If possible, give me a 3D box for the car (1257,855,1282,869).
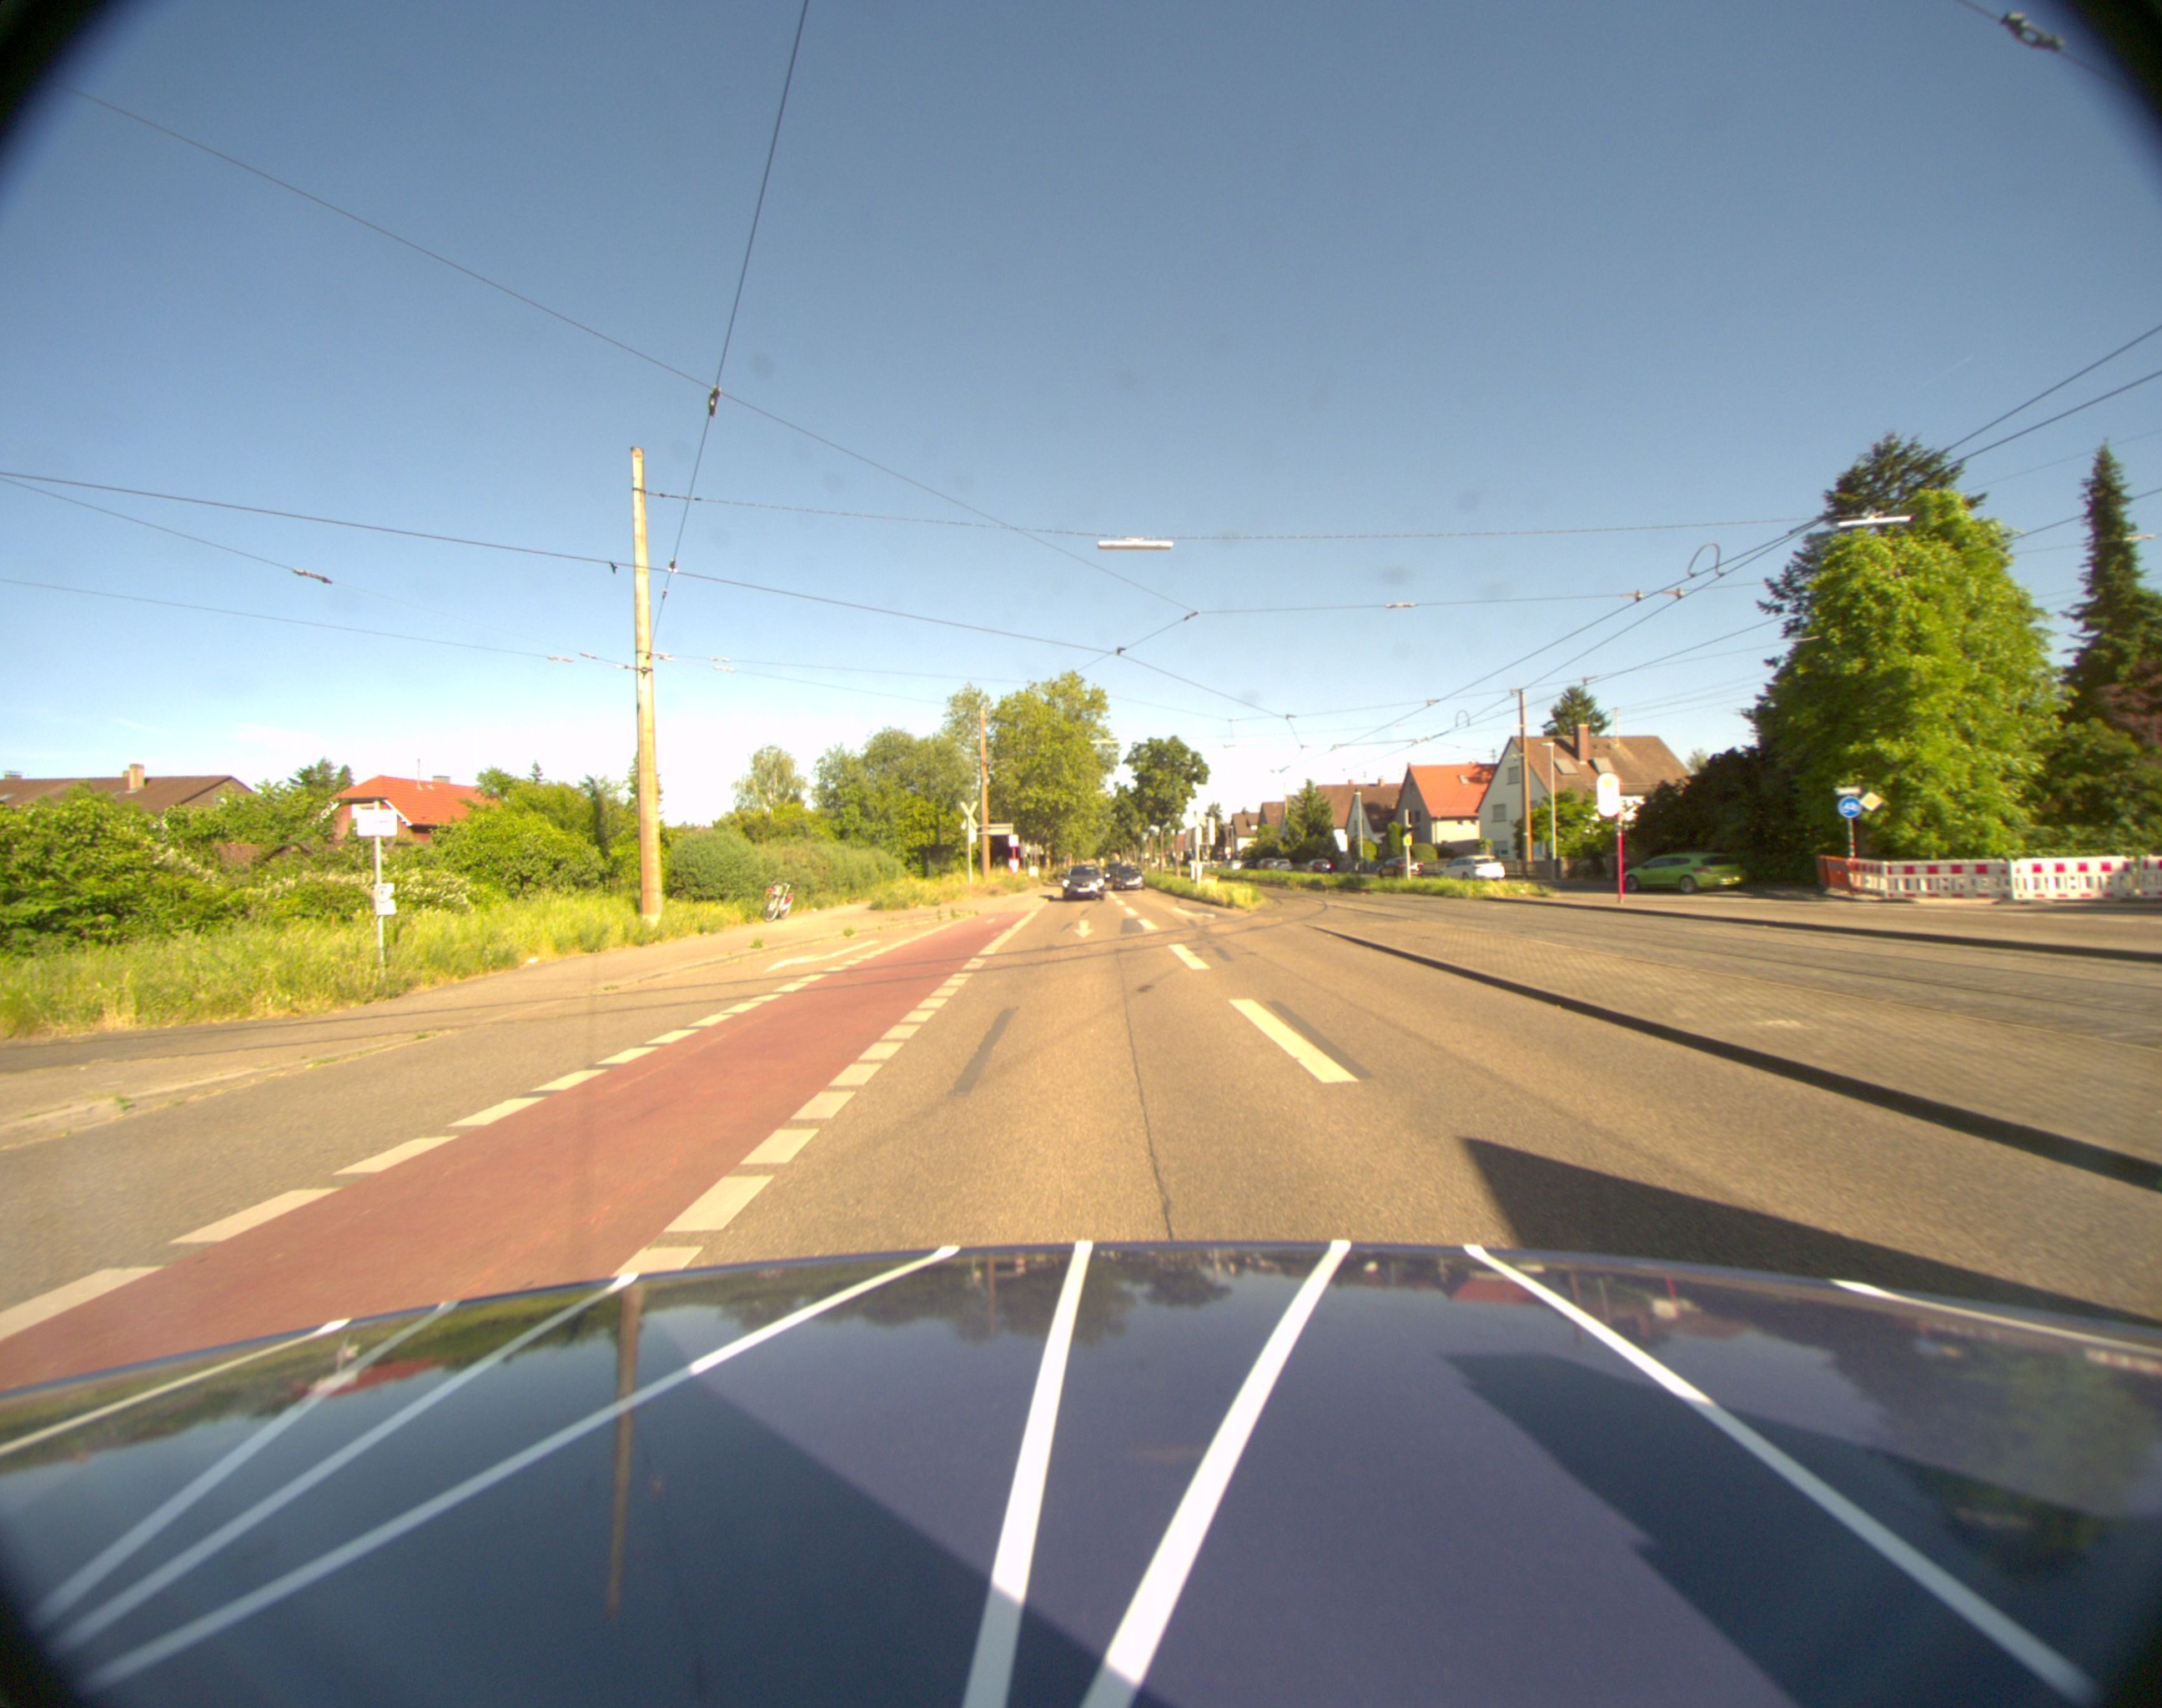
[{"bbox_3d":[22.327,0.951,90.195,1.888,1.552,4.537,-3,0,1],"label":"car"}]

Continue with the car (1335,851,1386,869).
[{"bbox_3d":[28.147,0.609,76.561,4.488,1.462,1.748,-4,0,-1],"label":"car"}]

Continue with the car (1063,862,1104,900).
[{"bbox_3d":[0.094,1.132,33.572,1.673,1.529,3.586,-2,0,0],"label":"car"}]

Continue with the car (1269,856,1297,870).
[{"bbox_3d":[22.550,0.981,85.138,1.888,1.463,4.839,-3,0,2],"label":"car"}]

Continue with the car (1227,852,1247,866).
[{"bbox_3d":[22.746,0.748,110.745,1.998,1.852,4.585,-2,0,1],"label":"car"}]

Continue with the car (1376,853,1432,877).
[{"bbox_3d":[22.038,0.710,52.067,1.912,1.457,4.441,-3,0,1],"label":"car"}]

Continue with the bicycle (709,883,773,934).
[{"bbox_3d":[-8.434,1.321,18.932,0.366,1.128,2.097,-1,0,9],"label":"bicycle"}]

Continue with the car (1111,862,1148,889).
[{"bbox_3d":[2.792,1.252,44.735,1.780,1.441,4.334,-2,0,-1],"label":"car"}]

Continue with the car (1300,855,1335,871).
[{"bbox_3d":[21.929,0.796,70.613,1.998,1.363,4.310,-2,0,2],"label":"car"}]

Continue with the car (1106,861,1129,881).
[{"bbox_3d":[3.196,1.463,67.009,1.779,1.620,4.288,-1,0,1],"label":"car"}]

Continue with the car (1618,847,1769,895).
[{"bbox_3d":[21.995,0.568,27.528,1.999,1.492,4.067,-3,0,-4],"label":"car"}]

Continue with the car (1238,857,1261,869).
[{"bbox_3d":[22.621,1.198,101.895,1.998,1.333,4.982,-3,0,1],"label":"car"}]

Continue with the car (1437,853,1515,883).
[{"bbox_3d":[21.896,0.721,42.335,1.888,1.464,4.614,-3,0,-1],"label":"car"}]
